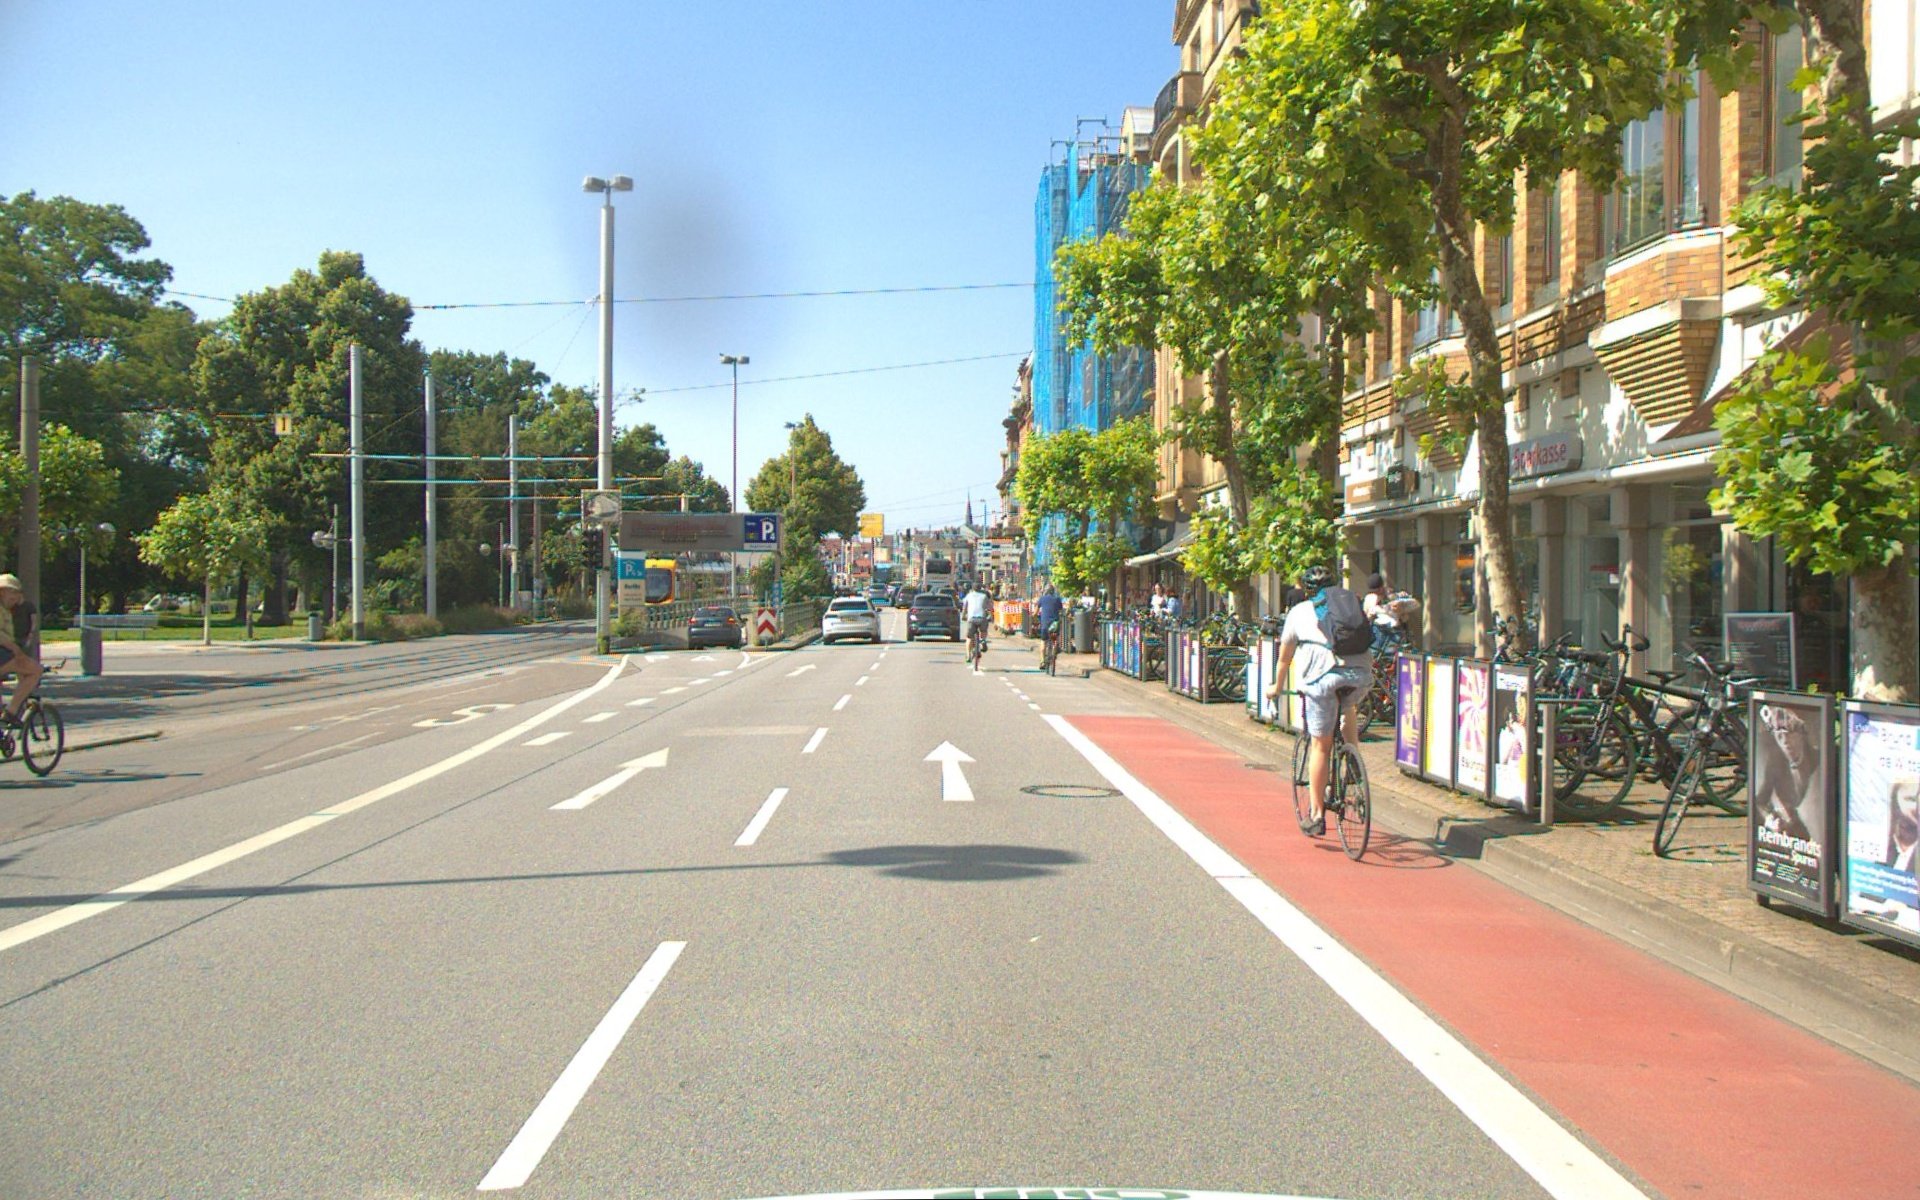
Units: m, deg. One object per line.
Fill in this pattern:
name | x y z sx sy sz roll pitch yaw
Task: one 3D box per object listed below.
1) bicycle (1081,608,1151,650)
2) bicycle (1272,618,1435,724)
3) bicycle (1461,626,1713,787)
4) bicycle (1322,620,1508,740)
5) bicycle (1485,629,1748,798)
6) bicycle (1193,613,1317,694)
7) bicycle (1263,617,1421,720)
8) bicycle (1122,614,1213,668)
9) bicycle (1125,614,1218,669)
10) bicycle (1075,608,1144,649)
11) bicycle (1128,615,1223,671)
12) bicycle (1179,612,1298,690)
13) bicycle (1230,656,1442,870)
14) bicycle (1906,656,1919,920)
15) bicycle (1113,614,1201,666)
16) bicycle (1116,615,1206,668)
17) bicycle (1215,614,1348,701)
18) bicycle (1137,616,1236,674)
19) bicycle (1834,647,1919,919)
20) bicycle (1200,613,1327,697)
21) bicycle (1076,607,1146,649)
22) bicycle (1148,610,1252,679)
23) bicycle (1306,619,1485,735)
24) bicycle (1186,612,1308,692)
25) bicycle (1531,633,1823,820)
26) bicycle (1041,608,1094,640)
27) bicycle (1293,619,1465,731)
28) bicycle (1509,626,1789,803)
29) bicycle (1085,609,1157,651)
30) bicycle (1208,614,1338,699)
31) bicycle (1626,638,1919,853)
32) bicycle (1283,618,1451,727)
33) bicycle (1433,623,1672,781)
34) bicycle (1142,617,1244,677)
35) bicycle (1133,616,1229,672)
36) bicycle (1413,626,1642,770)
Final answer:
bicycle | 3.927 0.733 41.708 1.718 1.036 0.482 0 0 -4
bicycle | 4.414 0.788 18.572 1.718 1.167 0.482 0 0 -4
bicycle | 4.670 0.782 12.352 1.718 1.167 0.482 0 0 -4
bicycle | 4.524 0.791 16.480 1.718 1.167 0.499 0 0 -4
bicycle | 4.686 0.799 11.841 1.718 1.167 0.482 0 0 -4
bicycle | 4.286 0.775 24.056 1.718 1.167 0.482 0 0 -4
bicycle | 4.395 0.784 19.074 1.718 1.167 0.482 0 0 -4
bicycle | 4.049 0.790 32.311 1.718 1.036 0.482 0 0 -4
bicycle | 4.055 0.788 31.801 1.718 1.036 0.482 0 0 -4
bicycle | 3.879 0.735 42.857 1.718 1.036 0.557 0 0 -4
bicycle | 4.069 0.804 31.232 1.718 1.036 0.482 0 1 -4
bicycle | 4.213 0.771 25.032 1.718 1.167 0.482 0 0 -4
bicycle | 2.298 0.955 10.390 0.719 1.112 2.129 2 0 -3
bicycle | 4.972 0.810 6.987 1.718 1.124 0.482 0 0 -4
bicycle | 3.991 0.806 33.505 1.718 1.036 0.482 0 0 -4
bicycle | 4.003 0.817 32.908 1.718 1.036 0.482 0 0 -4
bicycle | 4.378 0.780 22.568 1.718 1.167 0.482 0 0 -4
bicycle | 4.076 0.808 29.804 1.718 1.036 0.482 0 0 -4
bicycle | 4.927 0.806 7.491 1.718 1.167 0.482 0 0 -4
bicycle | 4.319 0.777 23.562 1.718 1.167 0.482 0 0 -4
bicycle | 3.867 0.711 42.312 1.718 1.036 0.586 -1 0 -4
bicycle | 4.137 0.762 28.560 1.718 1.167 0.482 0 0 -4
bicycle | 4.483 0.789 17.066 1.718 1.167 0.482 0 0 -4
bicycle | 4.248 0.773 24.535 1.718 1.167 0.482 0 0 -4
bicycle | 4.650 0.809 10.766 1.718 1.167 0.482 0 0 -4
bicycle | 3.606 0.797 55.303 1.718 1.036 0.482 0 0 -4
bicycle | 4.444 0.788 17.579 1.718 1.167 0.482 0 0 -4
bicycle | 4.694 0.767 11.315 1.718 1.167 0.527 0 0 -4
bicycle | 4.007 0.736 41.182 1.718 1.036 0.482 0 0 -4
bicycle | 4.352 0.779 23.063 1.718 1.167 0.482 0 0 -4
bicycle | 4.721 0.808 9.379 1.718 1.167 0.482 0 0 -4
bicycle | 4.434 0.789 18.070 1.718 1.167 0.482 0 0 -4
bicycle | 4.638 0.790 12.987 1.718 1.208 0.482 0 0 -4
bicycle | 4.091 0.819 29.109 1.718 1.036 0.482 0 0 -4
bicycle | 4.075 0.807 30.540 1.683 1.002 0.482 0 0 -4
bicycle | 4.615 0.788 13.495 1.718 1.143 0.482 0 0 -4
